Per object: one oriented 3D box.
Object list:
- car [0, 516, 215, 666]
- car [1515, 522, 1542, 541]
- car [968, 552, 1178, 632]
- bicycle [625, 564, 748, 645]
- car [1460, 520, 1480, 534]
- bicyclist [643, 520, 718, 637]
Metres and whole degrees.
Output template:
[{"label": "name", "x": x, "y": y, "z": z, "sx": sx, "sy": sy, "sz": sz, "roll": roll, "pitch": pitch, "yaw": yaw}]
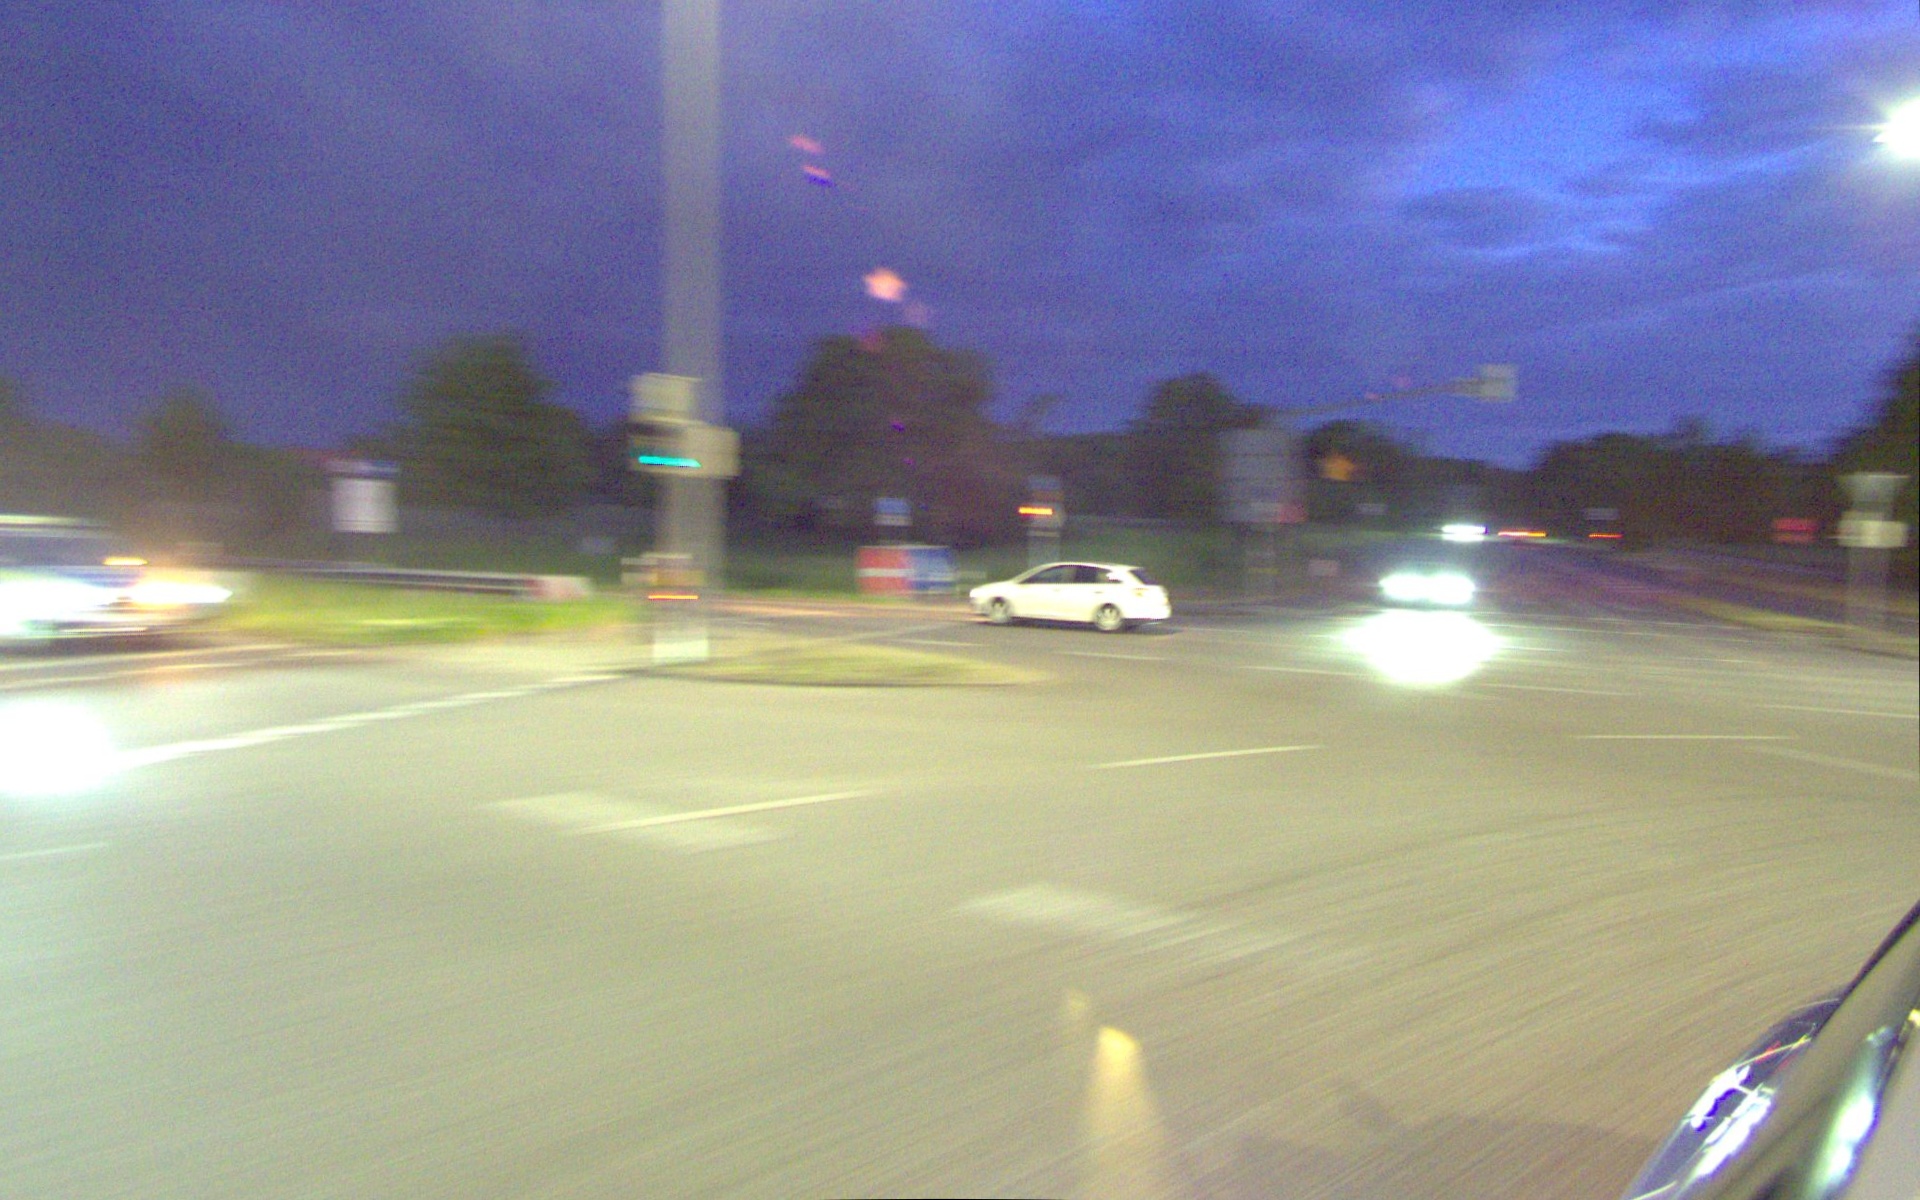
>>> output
[{"label": "car", "x": -11.851, "y": -0.227, "z": 13.079, "sx": 4.544, "sy": 1.653, "sz": 1.840, "roll": 3, "pitch": 3, "yaw": 28}, {"label": "car", "x": 55.167, "y": -6.640, "z": 98.322, "sx": 1.720, "sy": 1.590, "sz": 4.036, "roll": 2, "pitch": 8, "yaw": 22}, {"label": "car", "x": 2.346, "y": -0.242, "z": 21.208, "sx": 4.080, "sy": 1.461, "sz": 1.609, "roll": 3, "pitch": 3, "yaw": 28}, {"label": "bicycle", "x": -4.066, "y": 0.027, "z": 15.226, "sx": 0.687, "sy": 1.114, "sz": 2.054, "roll": 2, "pitch": 2, "yaw": 22}, {"label": "car", "x": 66.485, "y": -9.439, "z": 131.837, "sx": 1.689, "sy": 1.616, "sz": 3.874, "roll": 2, "pitch": 2, "yaw": 36}, {"label": "bicyclist", "x": -4.132, "y": -0.333, "z": 15.026, "sx": 0.597, "sy": 1.671, "sz": 0.993, "roll": 2, "pitch": 2, "yaw": 22}]
